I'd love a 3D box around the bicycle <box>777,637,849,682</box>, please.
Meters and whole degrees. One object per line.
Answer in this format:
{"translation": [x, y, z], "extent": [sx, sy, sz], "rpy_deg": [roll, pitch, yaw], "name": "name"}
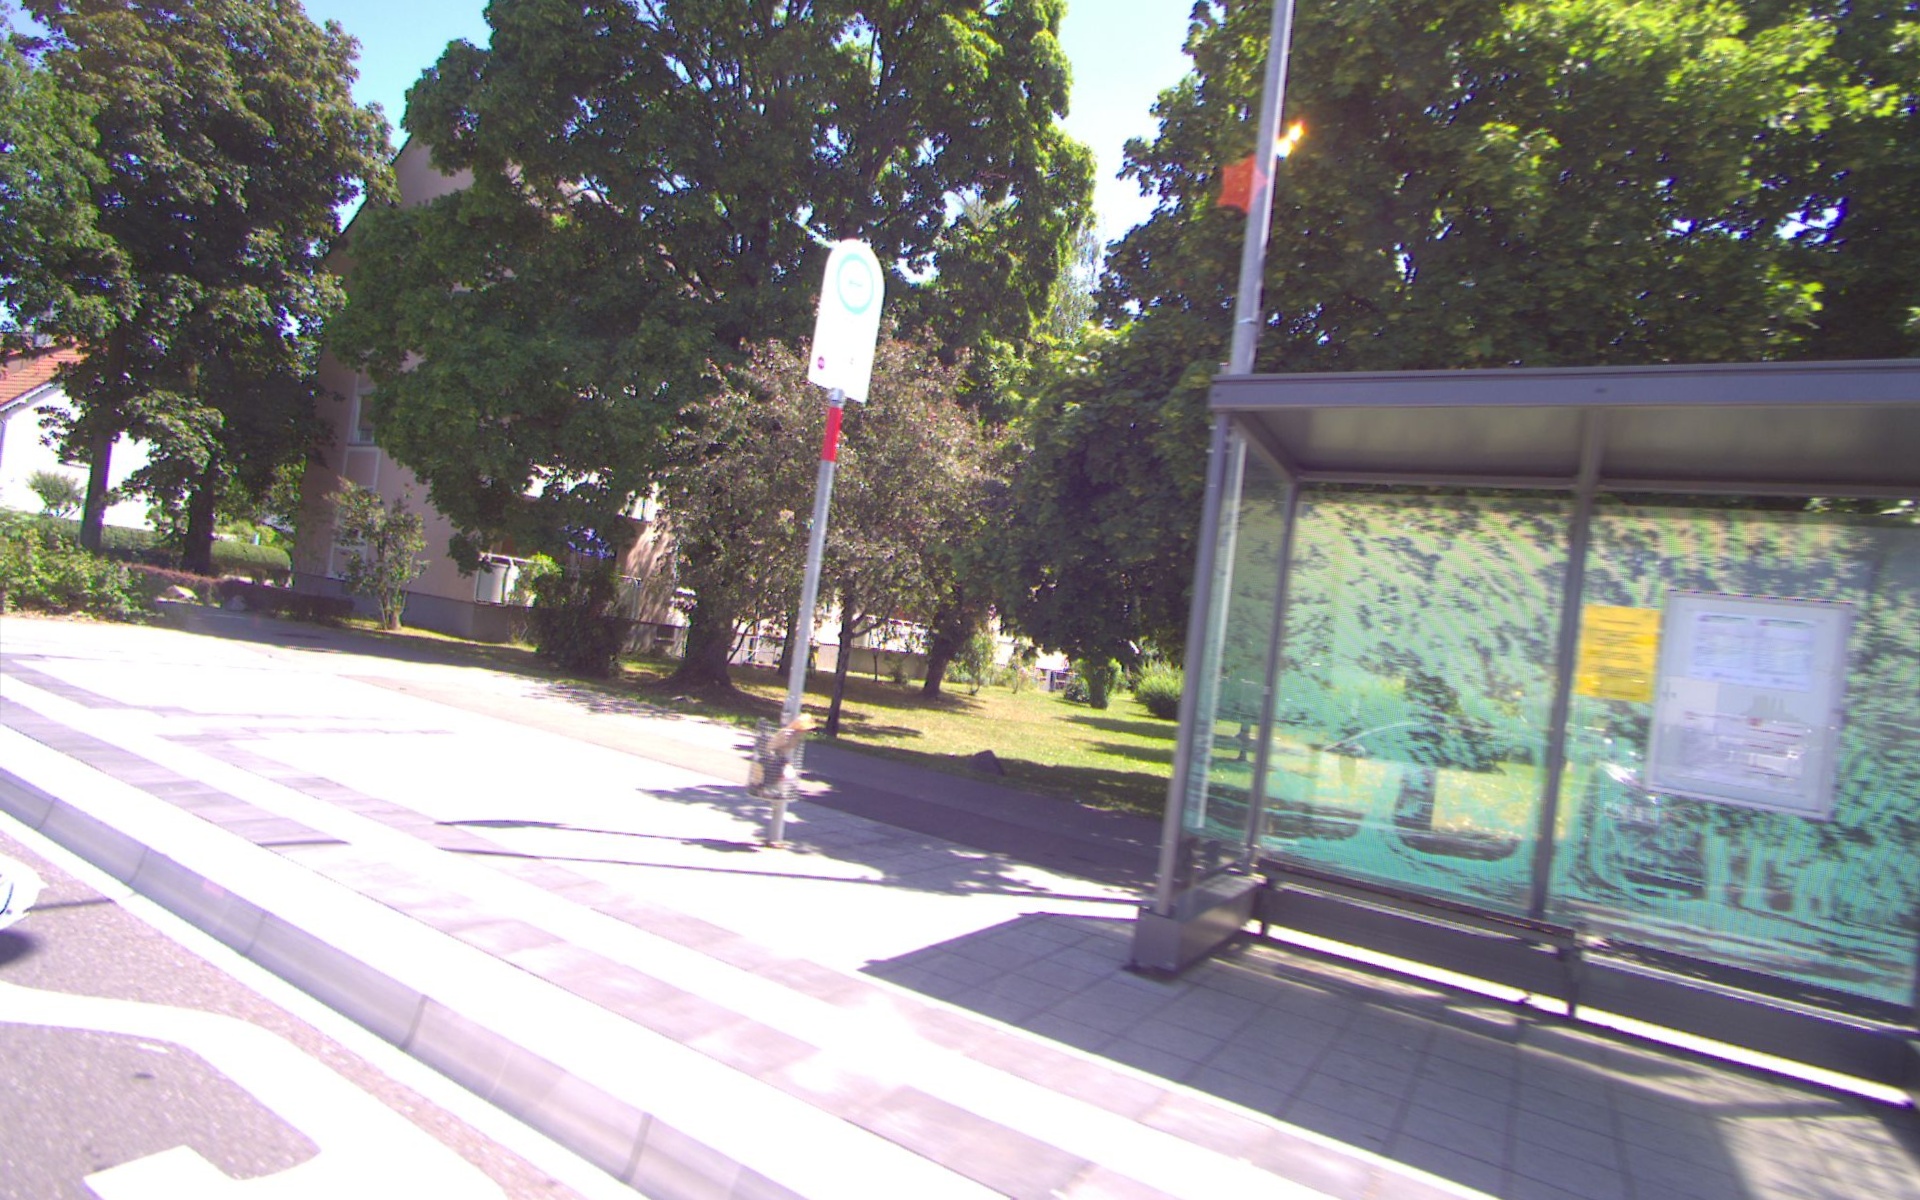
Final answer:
{"translation": [-4.548, 1.832, 31.080], "extent": [2.149, 1.078, 0.724], "rpy_deg": [6, -2, 32], "name": "bicycle"}
